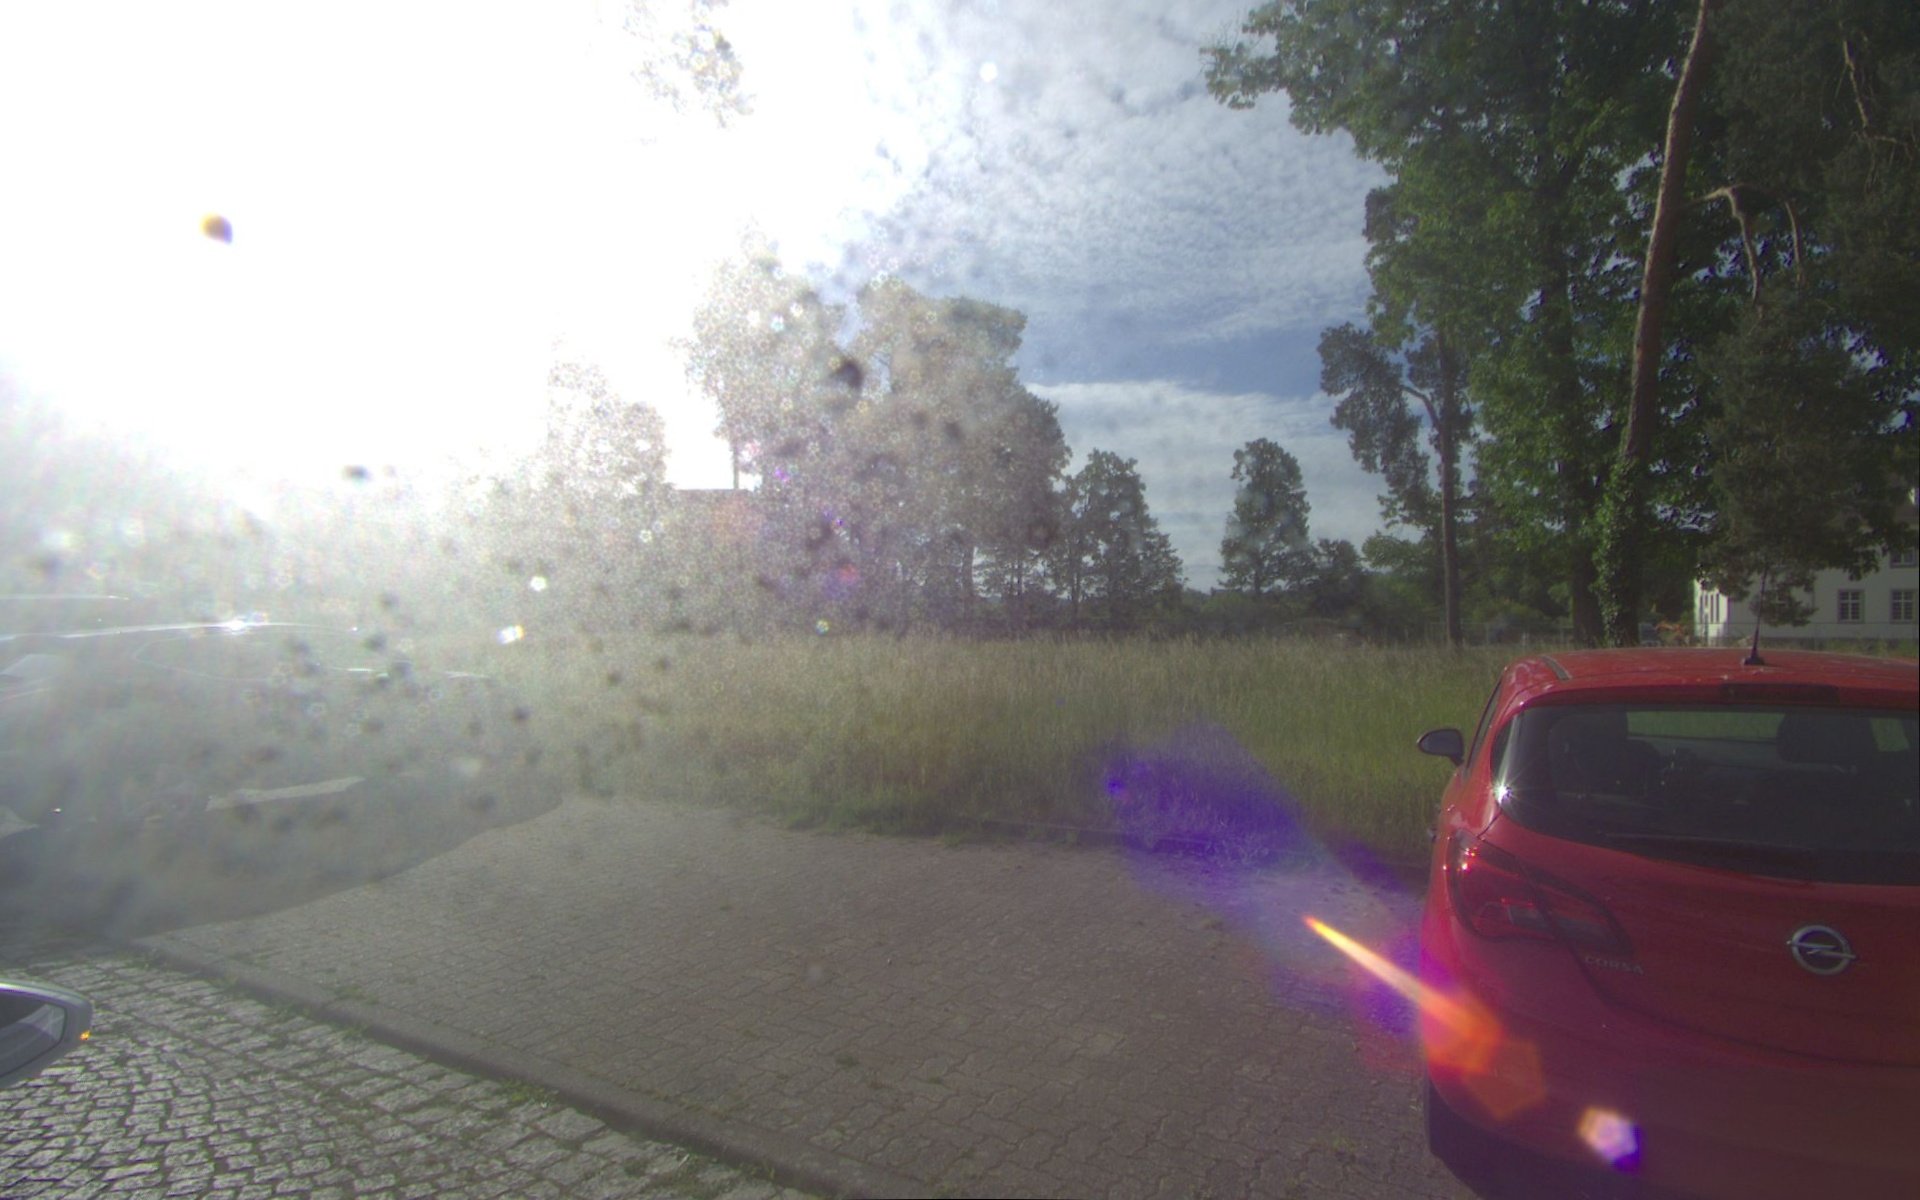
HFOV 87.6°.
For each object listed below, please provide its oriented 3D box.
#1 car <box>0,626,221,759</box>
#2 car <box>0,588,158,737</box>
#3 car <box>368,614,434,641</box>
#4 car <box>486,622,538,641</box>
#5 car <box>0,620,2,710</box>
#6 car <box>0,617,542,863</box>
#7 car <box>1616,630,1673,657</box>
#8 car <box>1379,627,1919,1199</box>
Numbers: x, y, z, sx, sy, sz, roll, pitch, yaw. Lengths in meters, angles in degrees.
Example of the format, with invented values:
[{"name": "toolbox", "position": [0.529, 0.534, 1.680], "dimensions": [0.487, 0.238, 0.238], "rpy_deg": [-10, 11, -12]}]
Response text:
[{"name": "car", "position": [-11.557, 1.068, 11.851], "dimensions": [1.779, 1.488, 4.190], "rpy_deg": [-1, -1, 26]}, {"name": "car", "position": [-13.728, 0.839, 13.039], "dimensions": [1.962, 1.954, 4.727], "rpy_deg": [-1, 0, 29]}, {"name": "car", "position": [-53.764, 2.682, 96.440], "dimensions": [2.231, 2.568, 5.152], "rpy_deg": [-1, -2, 31]}, {"name": "car", "position": [-39.775, 2.812, 88.951], "dimensions": [1.827, 1.701, 3.931], "rpy_deg": [-1, -2, 27]}, {"name": "car", "position": [-18.147, 1.101, 15.935], "dimensions": [1.781, 1.550, 3.870], "rpy_deg": [-1, -1, 30]}, {"name": "car", "position": [-6.075, 0.965, 8.829], "dimensions": [1.849, 1.609, 4.187], "rpy_deg": [-1, -1, 28]}, {"name": "car", "position": [53.466, 3.403, 78.338], "dimensions": [2.589, 2.039, 5.652], "rpy_deg": [-1, -2, 23]}, {"name": "car", "position": [2.713, 0.883, 3.836], "dimensions": [1.661, 1.492, 3.873], "rpy_deg": [-1, -1, 28]}]
